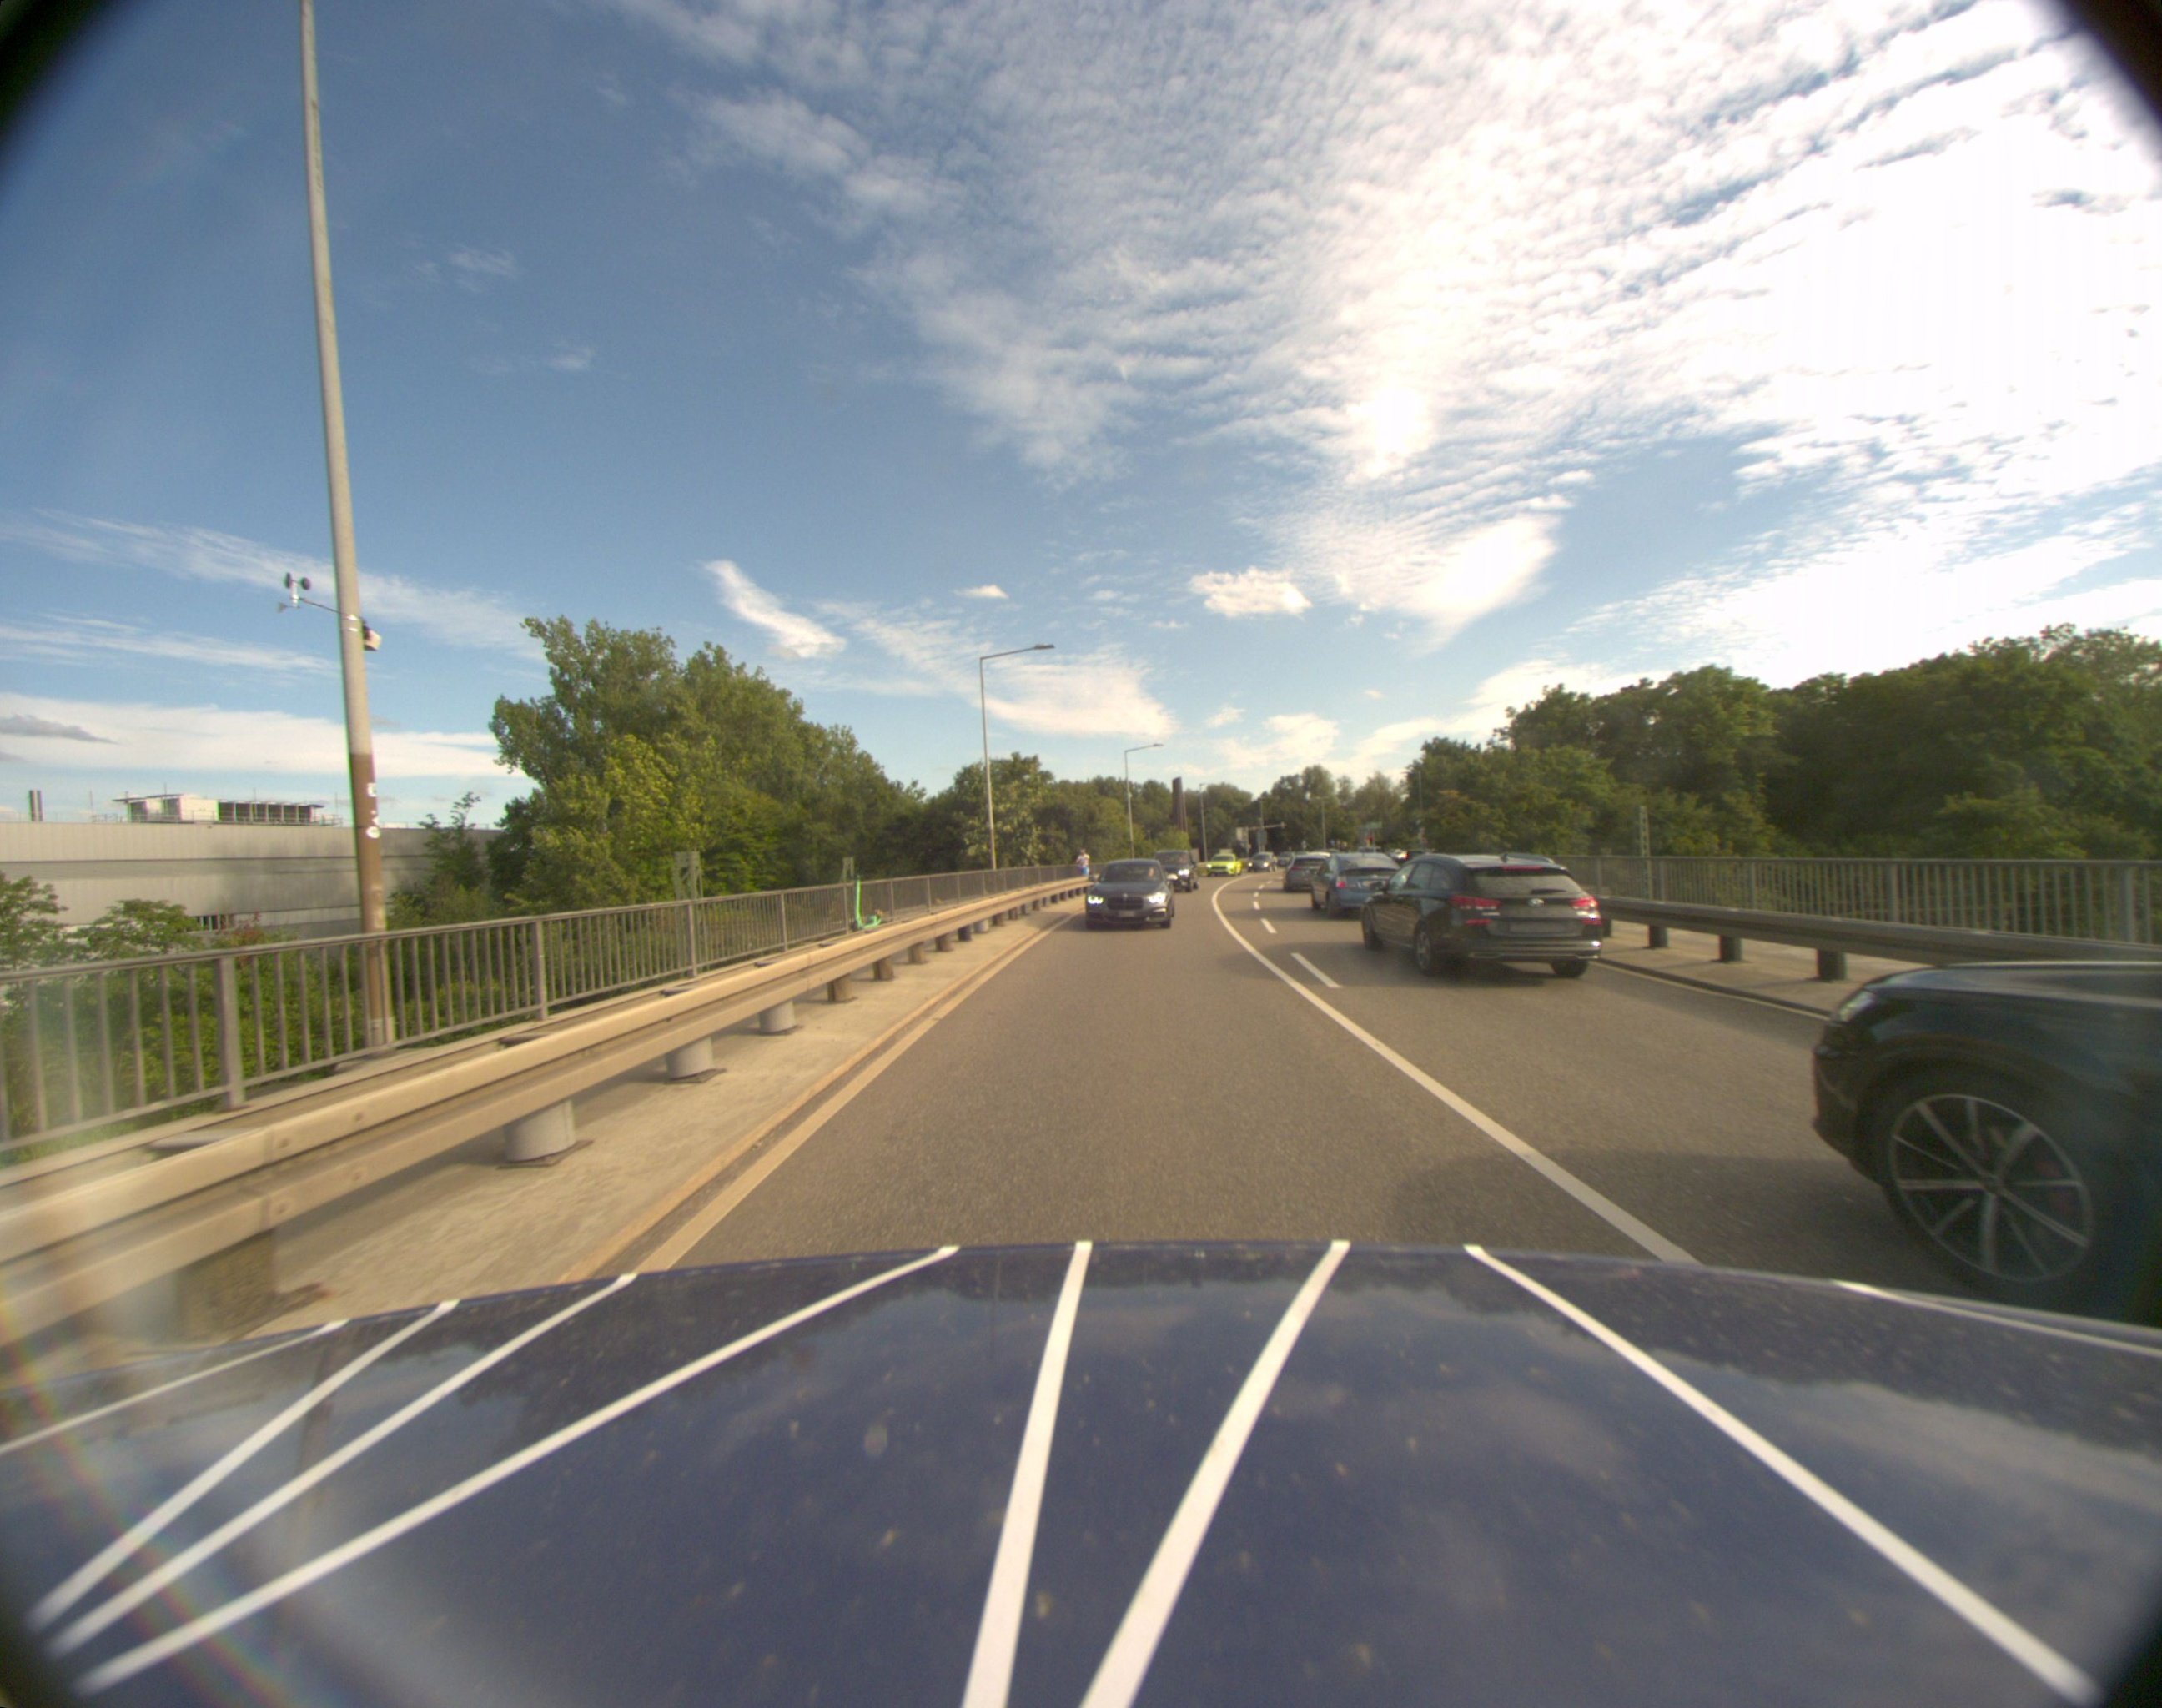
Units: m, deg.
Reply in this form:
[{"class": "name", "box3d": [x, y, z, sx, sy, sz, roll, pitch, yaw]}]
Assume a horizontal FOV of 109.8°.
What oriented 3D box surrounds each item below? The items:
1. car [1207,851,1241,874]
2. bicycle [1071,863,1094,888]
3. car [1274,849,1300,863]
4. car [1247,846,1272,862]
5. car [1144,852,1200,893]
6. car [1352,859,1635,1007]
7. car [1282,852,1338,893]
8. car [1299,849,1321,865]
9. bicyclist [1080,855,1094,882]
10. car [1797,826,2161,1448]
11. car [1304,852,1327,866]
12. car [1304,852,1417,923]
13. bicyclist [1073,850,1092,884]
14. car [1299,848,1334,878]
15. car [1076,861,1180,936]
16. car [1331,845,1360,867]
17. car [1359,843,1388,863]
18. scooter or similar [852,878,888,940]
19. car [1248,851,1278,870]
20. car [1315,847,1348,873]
[{"class": "car", "box3d": [9.387, 0.537, 49.641, 1.816, 1.396, 4.396, -1, 0, 16]}, {"class": "bicycle", "box3d": [0.090, 1.000, 35.609, 0.596, 1.114, 1.698, -1, 1, 16]}, {"class": "car", "box3d": [20.227, 0.181, 74.573, 1.688, 1.315, 3.791, -1, 1, 27]}, {"class": "car", "box3d": [16.121, 0.012, 68.521, 1.688, 1.315, 3.789, -1, 1, 21]}, {"class": "car", "box3d": [3.739, 0.695, 30.622, 1.817, 1.498, 4.395, -1, 0, 12]}, {"class": "car", "box3d": [5.075, 0.838, 10.134, 1.763, 1.481, 4.447, -1, 0, 6]}, {"class": "car", "box3d": [8.802, 0.657, 29.497, 1.816, 1.448, 4.329, -1, 0, 13]}, {"class": "car", "box3d": [30.060, 0.347, 99.728, 1.995, 2.002, 4.280, -1, 1, 28]}, {"class": "bicyclist", "box3d": [0.283, 0.687, 36.105, 0.500, 1.294, 0.539, -1, 1, 16]}, {"class": "car", "box3d": [3.744, 0.748, 0.631, 1.833, 1.662, 4.867, -1, 0, 2]}, {"class": "car", "box3d": [28.540, 0.614, 92.493, 1.995, 1.591, 4.288, -1, 1, 27]}, {"class": "car", "box3d": [6.601, 0.717, 18.411, 1.763, 1.481, 4.394, -1, 0, 10]}, {"class": "bicyclist", "box3d": [0.075, 0.589, 35.573, 0.708, 1.548, 0.755, -1, 1, 16]}, {"class": "car", "box3d": [12.775, 0.477, 41.211, 1.685, 1.536, 3.928, -1, 0, 17]}, {"class": "car", "box3d": [1.162, 0.900, 16.831, 1.784, 1.396, 3.974, -1, 0, 11]}, {"class": "car", "box3d": [21.794, 0.129, 62.599, 1.775, 1.736, 3.844, -1, 0, 26]}, {"class": "car", "box3d": [29.073, -0.128, 75.516, 1.986, 1.953, 5.057, -1, 0, 29]}, {"class": "scooter or similar", "box3d": [-4.204, 1.075, 15.189, 0.266, 1.155, 1.189, -1, 1, 6]}, {"class": "car", "box3d": [14.093, 0.474, 58.730, 1.688, 1.315, 3.790, -1, 1, 22]}, {"class": "car", "box3d": [16.575, 0.361, 50.144, 1.871, 1.656, 4.636, -1, 0, 20]}]
